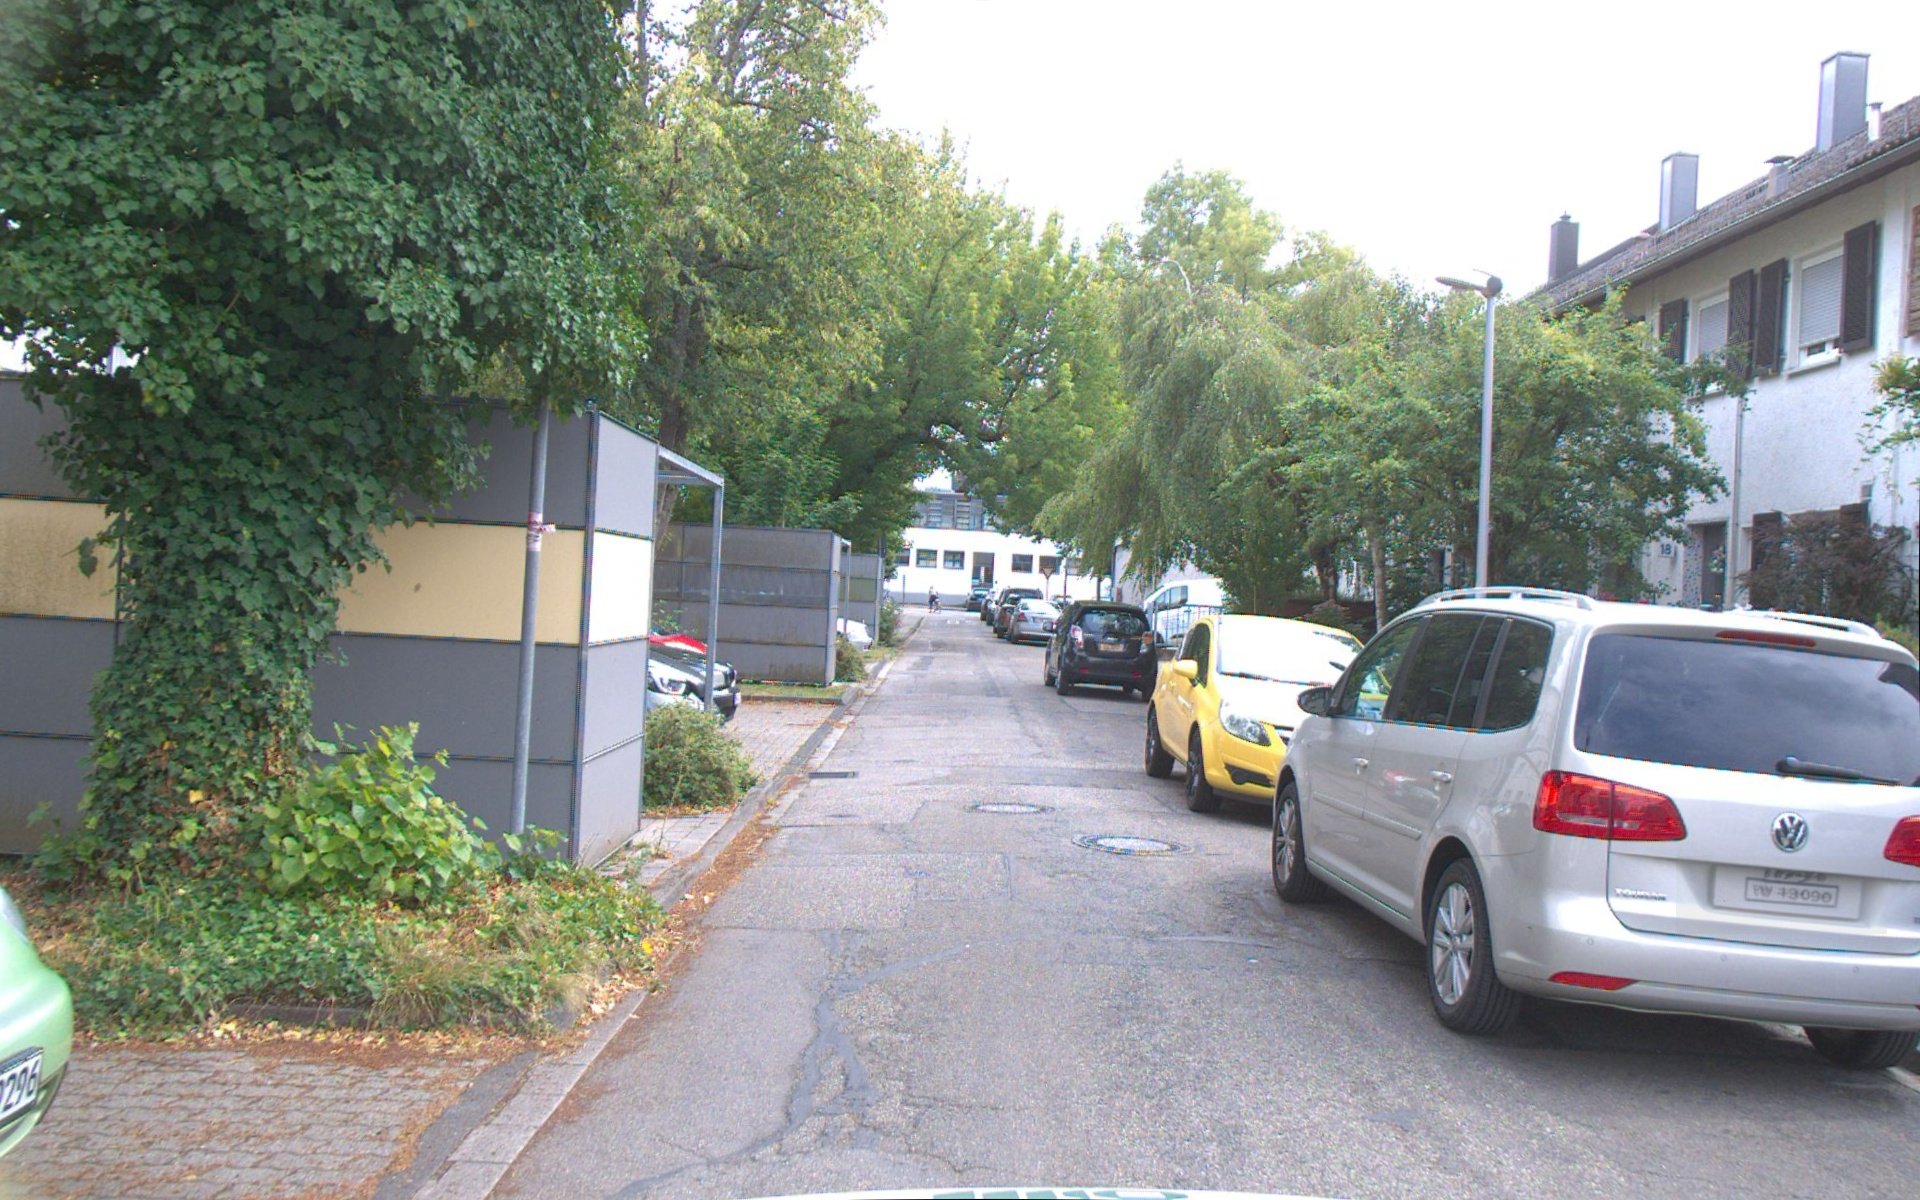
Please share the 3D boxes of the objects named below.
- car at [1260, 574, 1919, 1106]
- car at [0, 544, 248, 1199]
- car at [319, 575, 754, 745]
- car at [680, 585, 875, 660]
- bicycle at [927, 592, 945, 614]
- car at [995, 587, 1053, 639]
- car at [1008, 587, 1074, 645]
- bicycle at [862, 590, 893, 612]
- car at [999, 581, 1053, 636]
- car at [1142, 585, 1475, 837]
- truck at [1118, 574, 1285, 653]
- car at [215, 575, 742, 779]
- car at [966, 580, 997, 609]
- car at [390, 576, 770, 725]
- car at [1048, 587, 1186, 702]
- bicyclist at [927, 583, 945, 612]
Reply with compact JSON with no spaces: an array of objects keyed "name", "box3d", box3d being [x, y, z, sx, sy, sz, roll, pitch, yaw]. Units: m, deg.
[{"name":"car","box3d":[2.699,0.774,7.328,1.789,1.608,3.999,5,1,-2]},{"name":"car","box3d":[-4.045,0.573,3.377,4.322,1.528,1.841,2,0,-1]},{"name":"car","box3d":[-4.160,0.572,16.720,3.906,1.489,1.738,2,0,-1]},{"name":"car","box3d":[-3.844,0.458,35.315,3.949,1.418,1.738,2,0,-1]},{"name":"bicycle","box3d":[-1.369,0.160,93.092,0.676,1.151,2.575,5,0,-7]},{"name":"car","box3d":[2.225,0.427,58.289,1.788,1.608,4.000,5,1,0]},{"name":"car","box3d":[2.525,0.479,52.561,1.788,1.608,4.000,5,1,0]},{"name":"bicycle","box3d":[-4.832,0.044,96.954,1.769,1.138,0.629,5,0,-2]},{"name":"car","box3d":[2.537,0.286,64.320,1.788,1.915,4.000,5,0,0]},{"name":"car","box3d":[2.654,0.760,13.559,1.788,1.608,4.000,5,1,0]},{"name":"truck","box3d":[6.644,0.351,45.802,4.301,2.049,2.000,1,0,-1]},{"name":"car","box3d":[-3.932,0.607,14.013,3.906,1.489,1.738,2,0,-1]},{"name":"car","box3d":[1.366,-0.359,105.009,1.788,1.608,4.000,5,1,0]},{"name":"car","box3d":[-4.246,0.552,18.929,3.906,1.489,1.738,2,0,-1]},{"name":"car","box3d":[2.519,0.660,27.505,1.788,1.608,4.193,5,1,0]},{"name":"bicyclist","box3d":[-1.351,-0.152,93.054,0.784,1.537,0.932,4,0,-8]}]
